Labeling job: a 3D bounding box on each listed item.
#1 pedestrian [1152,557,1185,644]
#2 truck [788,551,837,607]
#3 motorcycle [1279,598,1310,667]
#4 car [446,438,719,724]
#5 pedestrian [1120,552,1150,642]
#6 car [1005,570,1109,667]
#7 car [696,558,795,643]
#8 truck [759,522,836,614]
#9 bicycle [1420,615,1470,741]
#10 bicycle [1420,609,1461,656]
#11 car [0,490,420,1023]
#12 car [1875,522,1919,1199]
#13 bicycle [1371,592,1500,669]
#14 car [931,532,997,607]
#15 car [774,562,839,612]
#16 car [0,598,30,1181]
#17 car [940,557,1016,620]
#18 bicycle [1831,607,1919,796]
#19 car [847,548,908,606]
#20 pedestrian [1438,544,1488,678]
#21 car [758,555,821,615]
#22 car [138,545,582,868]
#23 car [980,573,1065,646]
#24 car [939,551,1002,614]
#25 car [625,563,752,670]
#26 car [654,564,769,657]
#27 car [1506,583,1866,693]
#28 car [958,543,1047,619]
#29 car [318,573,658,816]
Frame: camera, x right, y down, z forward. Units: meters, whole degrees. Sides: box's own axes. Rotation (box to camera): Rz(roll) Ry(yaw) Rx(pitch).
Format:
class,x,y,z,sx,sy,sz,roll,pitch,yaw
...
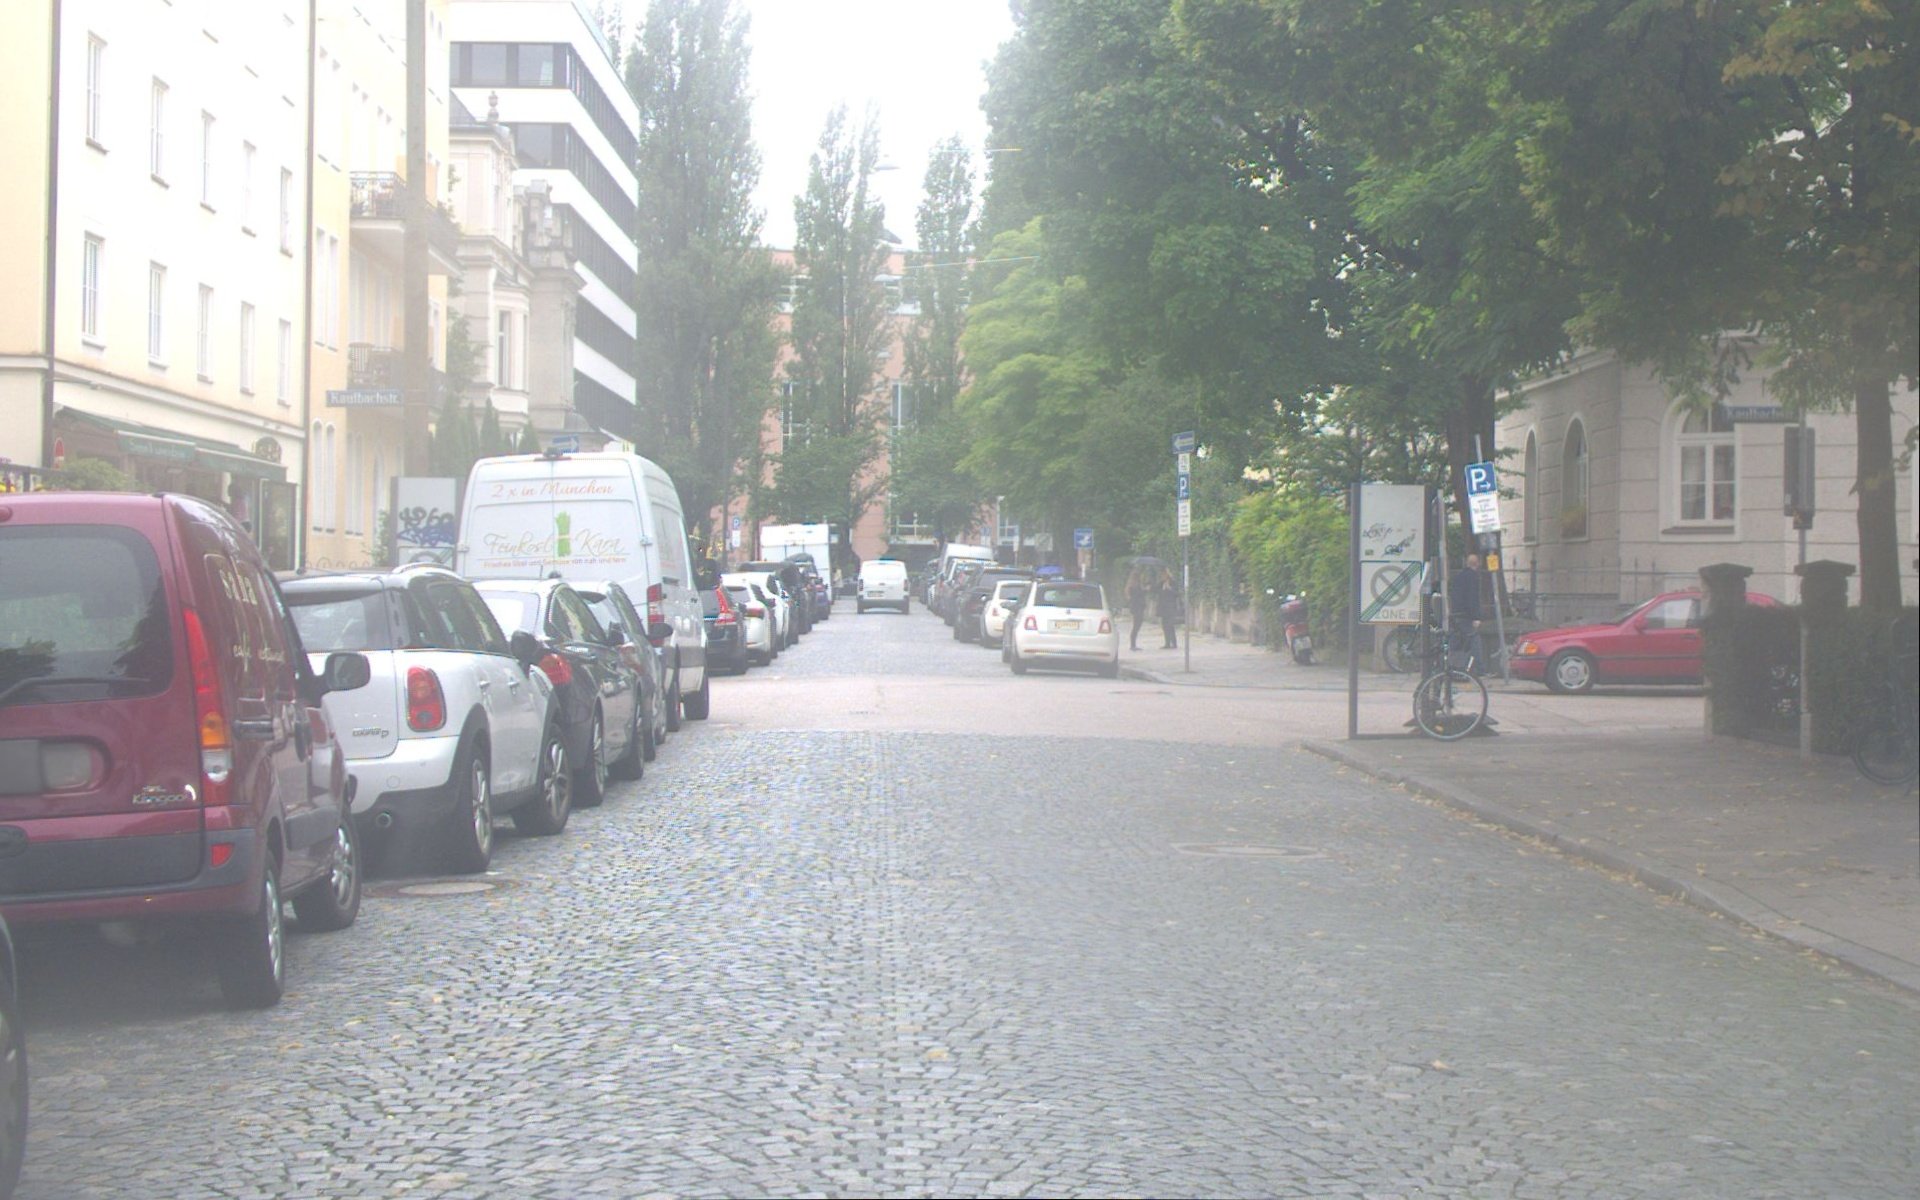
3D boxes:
class,x,y,z,sx,sy,sz,roll,pitch,yaw
pedestrian,4.366,0.014,71.921,0.628,1.802,0.660,1,0,5
truck,-6.285,-0.896,146.920,1.993,2.339,4.068,1,0,-1
motorcycle,5.357,0.521,55.159,0.362,1.086,1.403,1,0,1
car,-3.636,-0.178,34.137,1.977,2.565,5.794,-1,0,1
pedestrian,3.623,-0.062,71.234,0.576,1.844,0.681,0,0,6
car,1.511,0.281,54.422,1.502,1.466,3.795,1,0,0
car,-4.388,0.006,70.735,1.773,1.642,4.391,1,0,-1
truck,-5.564,-1.127,118.073,2.508,3.021,6.385,-1,1,-3
bicycle,4.526,0.715,32.127,0.388,1.143,1.589,1,0,6
bicycle,8.587,0.568,61.484,0.491,0.809,2.273,1,0,3
car,-3.175,0.503,13.056,1.717,1.717,3.899,0,0,-1
car,2.910,0.687,4.903,1.920,1.680,4.634,1,0,-1
bicycle,7.005,0.443,50.588,1.839,1.120,0.562,0,0,12
car,0.113,-1.080,119.274,1.895,2.418,5.612,5,1,-2
car,-4.751,-0.399,106.716,1.940,1.454,4.058,1,0,-2
car,-3.005,0.679,6.445,1.631,1.389,3.816,1,0,-3
car,0.498,-0.330,100.721,1.963,1.753,4.954,1,0,-2
bicycle,6.368,0.661,23.236,0.427,1.194,1.730,-4,0,0
car,-2.832,-0.787,119.342,1.996,1.929,4.000,1,0,0
pedestrian,7.107,0.154,48.563,0.493,1.869,0.743,1,0,-6
car,-5.017,-0.441,101.339,1.773,1.712,4.391,1,0,-2
car,-3.064,0.505,18.255,1.693,1.499,3.777,1,0,0
car,1.340,0.200,75.038,1.630,1.464,3.659,3,0,-2
car,0.326,-0.579,113.664,1.800,1.943,4.861,4,0,-2
car,-4.251,0.243,54.371,1.852,1.581,4.748,1,0,-3
car,-4.251,0.155,59.276,1.773,1.531,4.541,0,1,-2
car,9.477,0.483,45.169,4.468,1.353,1.760,1,1,6
car,0.948,-0.433,80.207,1.875,1.667,5.491,1,0,-1
car,-3.125,0.568,23.567,1.725,1.460,4.473,-1,0,-1
